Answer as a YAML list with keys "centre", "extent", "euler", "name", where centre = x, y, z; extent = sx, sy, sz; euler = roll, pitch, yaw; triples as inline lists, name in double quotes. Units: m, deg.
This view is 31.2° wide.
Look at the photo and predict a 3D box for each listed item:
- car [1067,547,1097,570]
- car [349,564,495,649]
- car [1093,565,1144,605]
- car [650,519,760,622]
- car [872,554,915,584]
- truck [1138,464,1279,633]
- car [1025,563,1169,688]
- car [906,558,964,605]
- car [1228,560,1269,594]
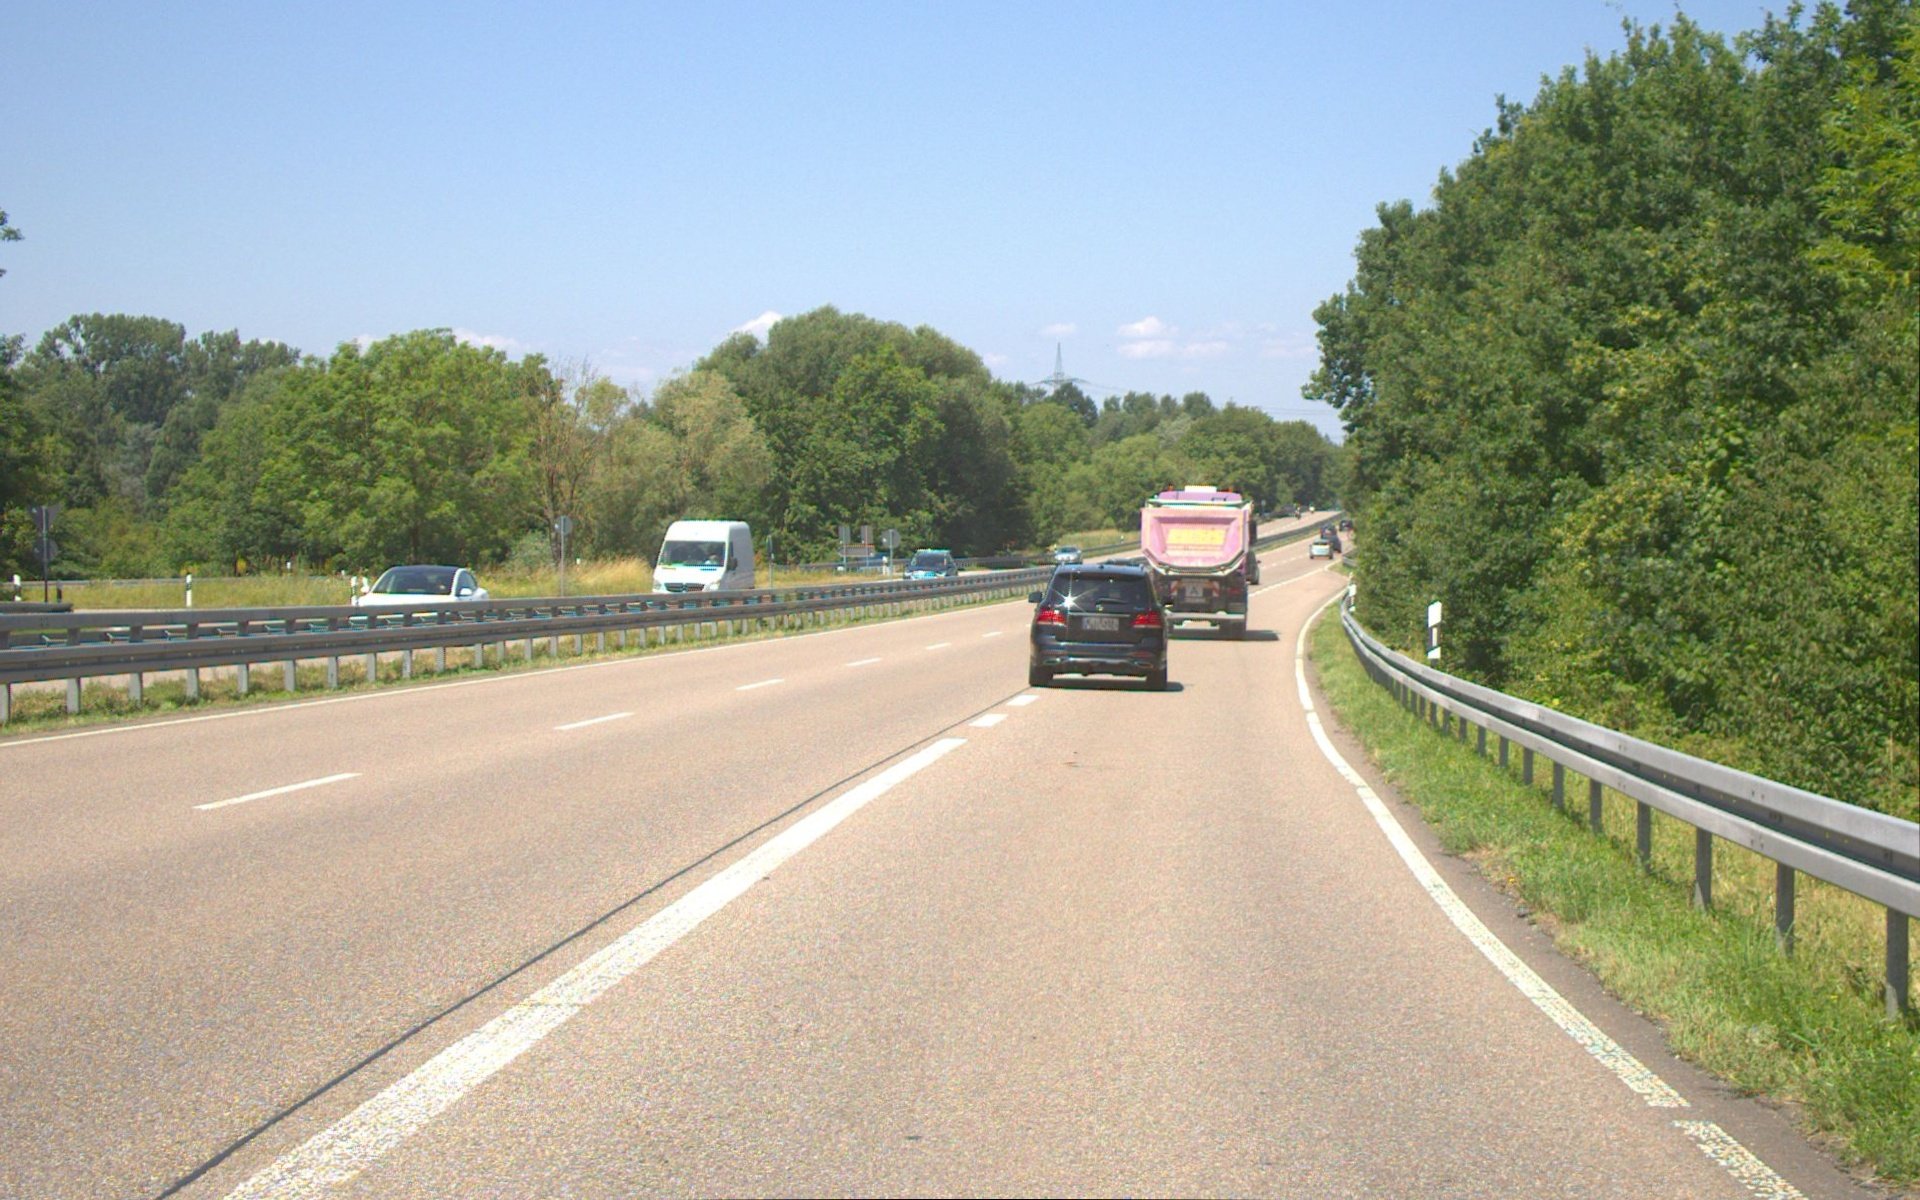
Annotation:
- centre: [8.943, -3.054, 252.376]
  extent: [1.725, 1.639, 4.942]
  euler: [1, 1, 7]
  name: "car"
- centre: [-9.910, 0.107, 63.615]
  extent: [1.918, 1.484, 4.000]
  euler: [1, 0, 2]
  name: "car"
- centre: [6.929, -0.651, 149.624]
  extent: [1.858, 1.665, 3.999]
  euler: [1, 1, 8]
  name: "car"
- centre: [-6.886, -0.799, 93.560]
  extent: [2.102, 2.674, 6.627]
  euler: [1, 0, 3]
  name: "car"
- centre: [-3.374, -1.563, 174.575]
  extent: [1.918, 1.484, 4.000]
  euler: [1, 0, 2]
  name: "car"
- centre: [6.369, -1.427, 86.375]
  extent: [2.721, 3.916, 12.367]
  euler: [1, 2, 8]
  name: "truck"
- centre: [1.988, 0.329, 48.965]
  extent: [1.858, 1.665, 3.999]
  euler: [1, 1, 5]
  name: "car"
- centre: [-0.995, -0.738, 138.734]
  extent: [1.863, 1.824, 4.659]
  euler: [1, 1, 5]
  name: "car"
- centre: [14.576, -1.179, 173.637]
  extent: [1.858, 1.665, 3.999]
  euler: [1, 1, 8]
  name: "car"
